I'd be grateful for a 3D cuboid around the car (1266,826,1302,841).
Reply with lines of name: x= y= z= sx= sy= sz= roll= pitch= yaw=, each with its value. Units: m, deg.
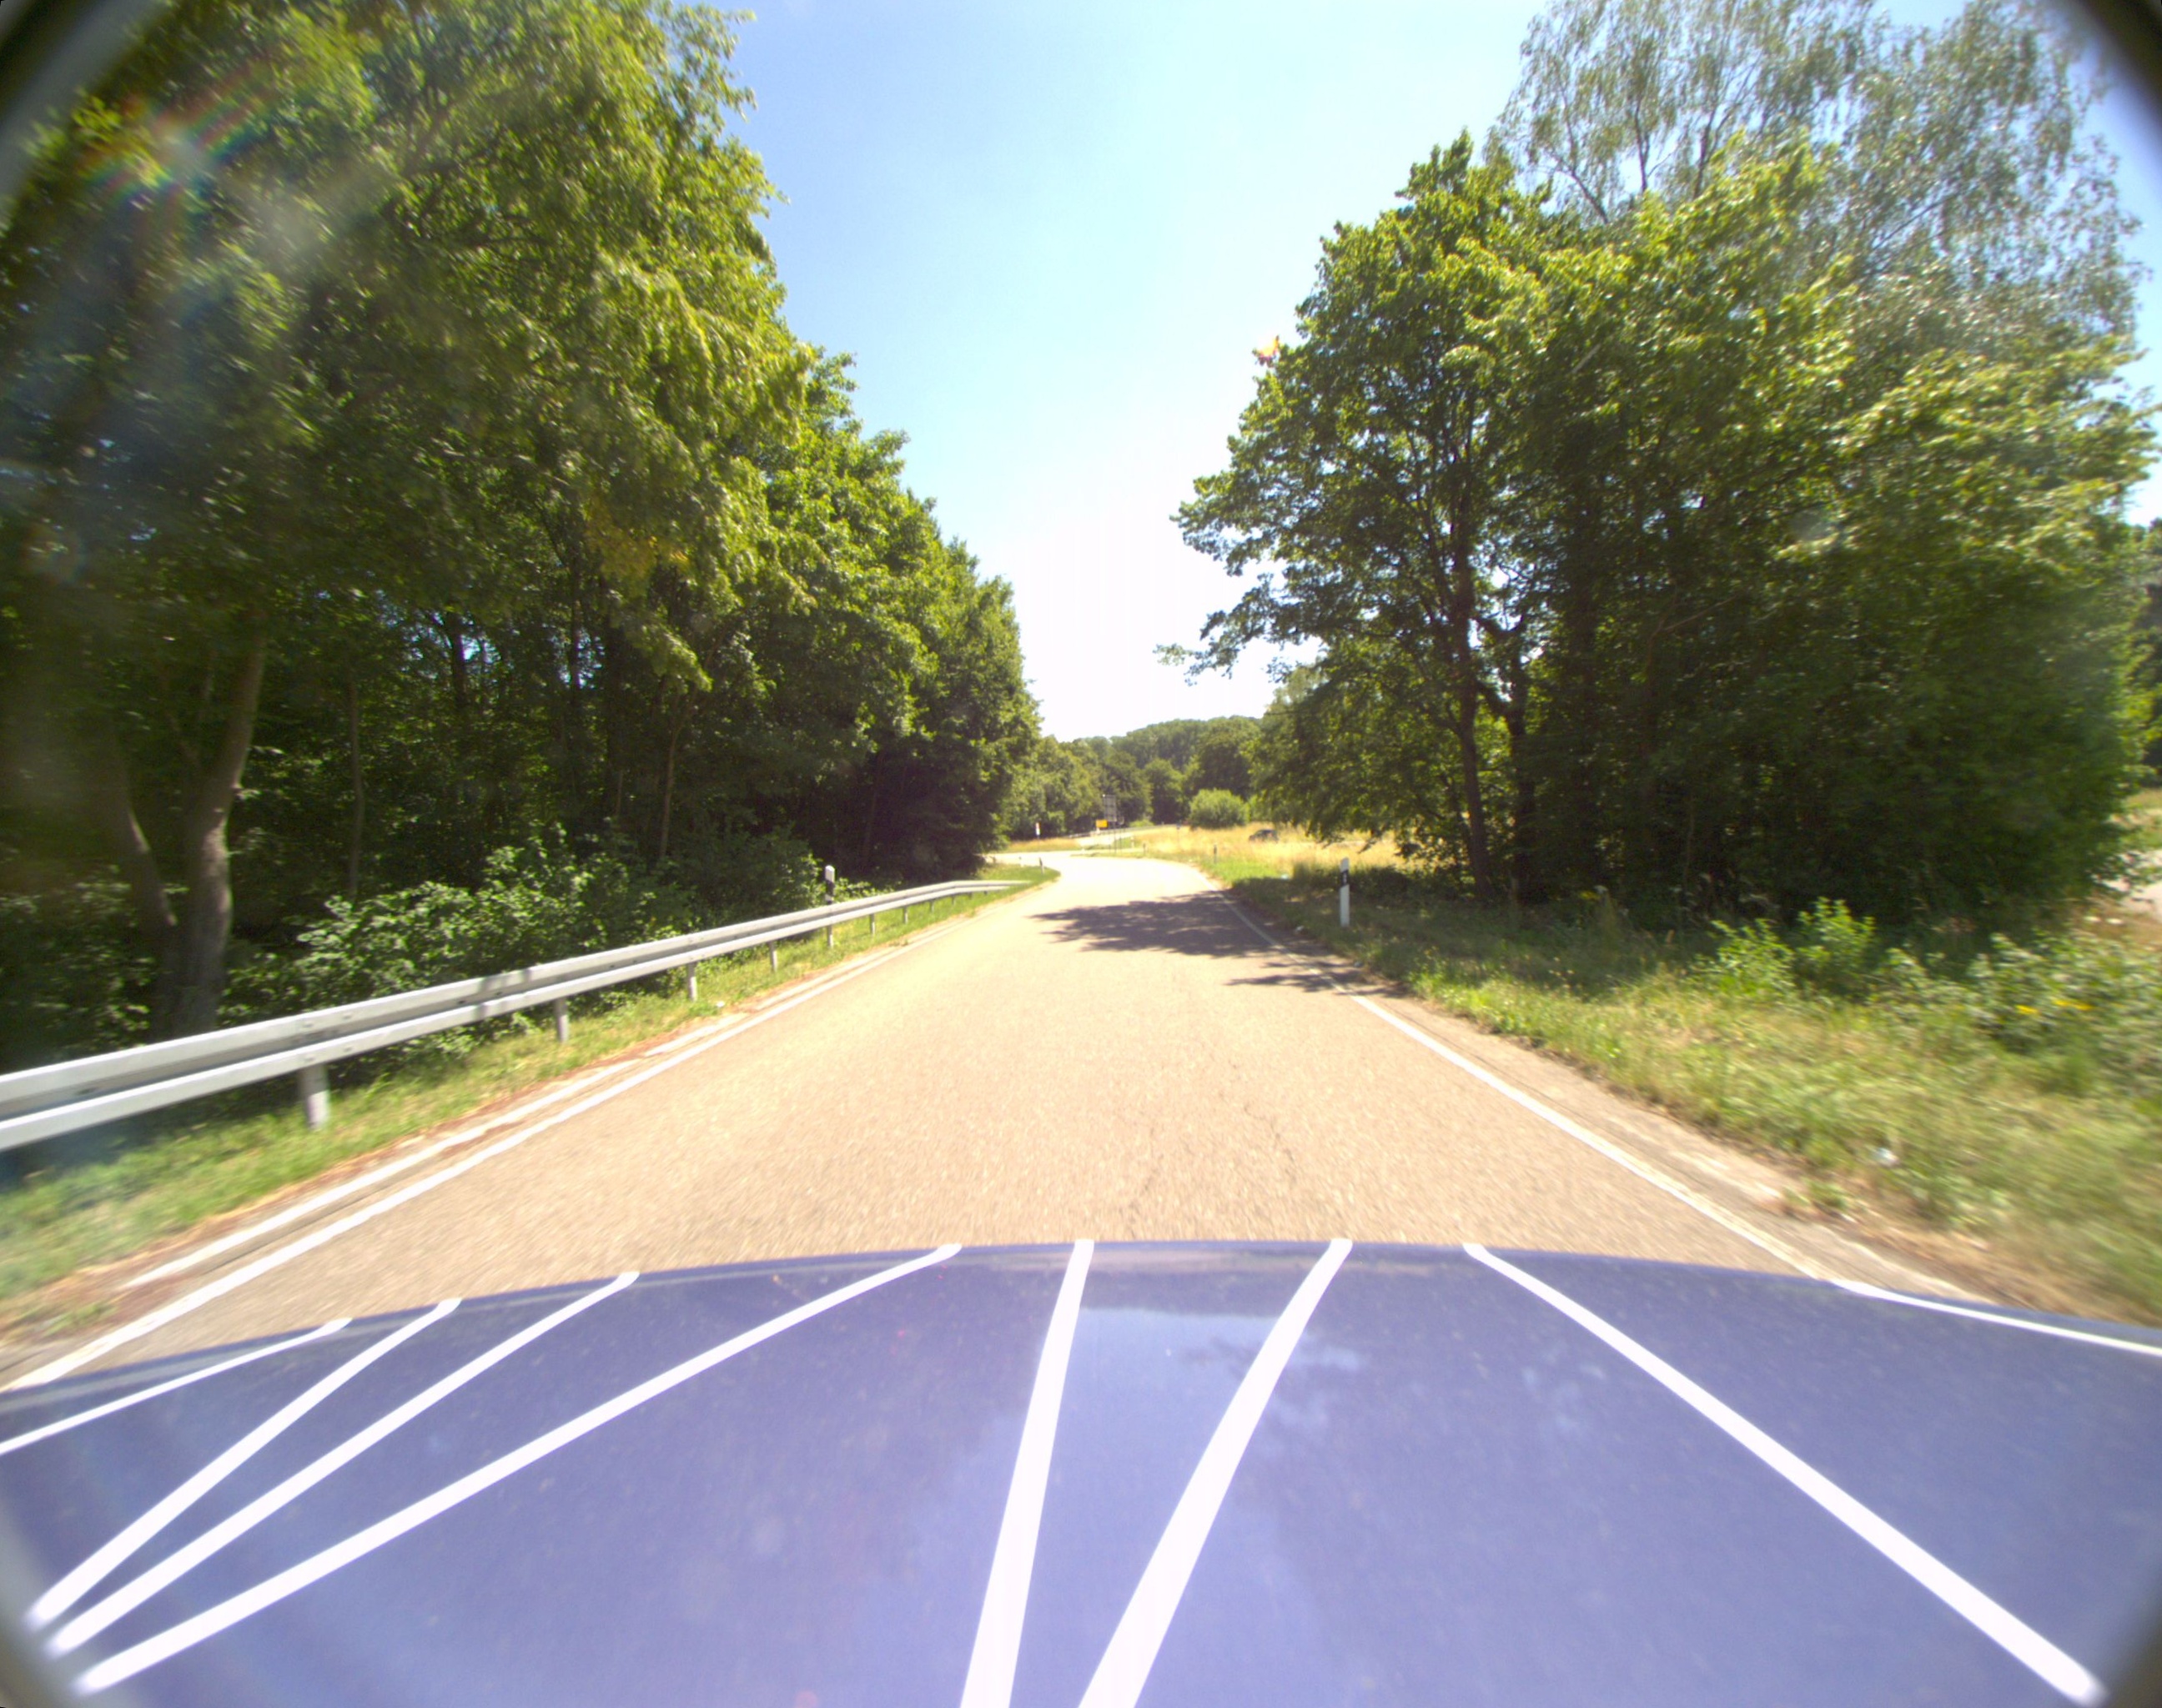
car: x=19.669 y=-1.965 z=73.642 sx=2.952 sy=1.320 sz=1.474 roll=0 pitch=4 yaw=44
